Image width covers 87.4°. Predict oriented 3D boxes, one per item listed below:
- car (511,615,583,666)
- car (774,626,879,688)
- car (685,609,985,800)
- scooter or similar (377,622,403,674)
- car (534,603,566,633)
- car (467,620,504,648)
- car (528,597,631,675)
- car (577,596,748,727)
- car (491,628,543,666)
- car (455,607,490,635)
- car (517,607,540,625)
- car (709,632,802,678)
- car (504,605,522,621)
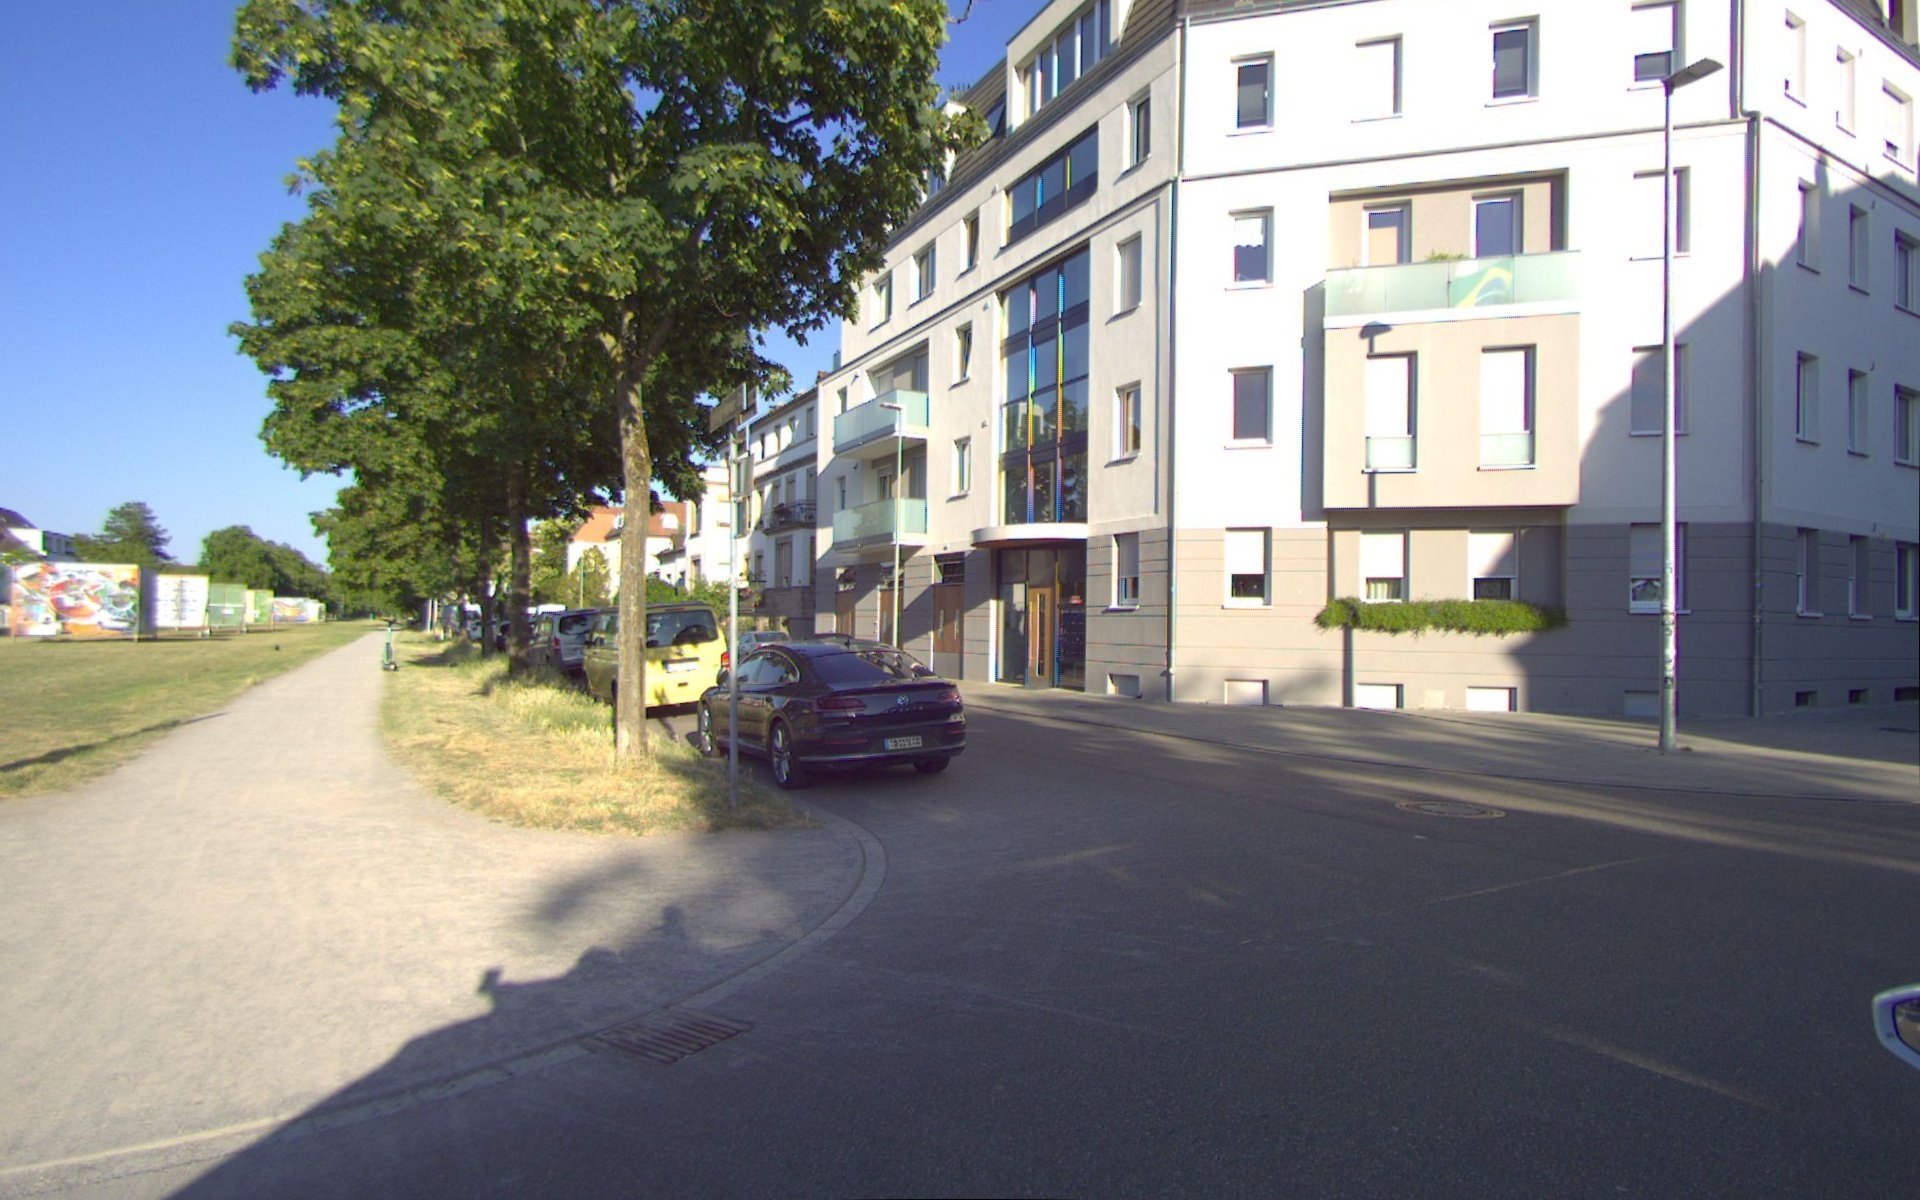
[{"bbox_3d":[-14.052,1.332,34.059,1.804,1.601,3.807,2,-1,-29],"label":"car"},{"bbox_3d":[-3.649,1.458,26.927,1.605,1.441,3.704,-1,0,-28],"label":"car"},{"bbox_3d":[-1.676,0.975,11.439,1.766,1.691,4.803,2,-1,-28],"label":"car"},{"bbox_3d":[-12.956,1.082,22.844,0.447,1.131,1.636,1,-1,-28],"label":"scooter or similar"},{"bbox_3d":[-31.733,1.410,77.667,1.974,2.243,4.104,1,-1,-26],"label":"car"},{"bbox_3d":[-28.820,2.069,60.941,1.804,1.601,3.807,2,-1,-29],"label":"car"},{"bbox_3d":[-10.968,1.004,28.747,2.055,2.040,4.539,2,-2,-30],"label":"car"},{"bbox_3d":[-5.693,1.021,18.789,2.009,2.040,4.657,-2,1,-30],"label":"car"},{"bbox_3d":[-20.013,2.099,45.303,1.804,1.601,3.807,2,-1,-29],"label":"car"},{"bbox_3d":[-36.169,1.567,74.515,2.200,1.971,4.479,1,-1,-26],"label":"car"},{"bbox_3d":[-42.125,1.578,97.983,1.843,1.696,4.104,1,-1,-26],"label":"car"},{"bbox_3d":[-6.459,1.693,31.459,1.609,1.256,3.697,3,-2,-33],"label":"car"},{"bbox_3d":[-52.944,1.525,118.954,1.824,1.765,3.869,1,-1,-26],"label":"car"}]
